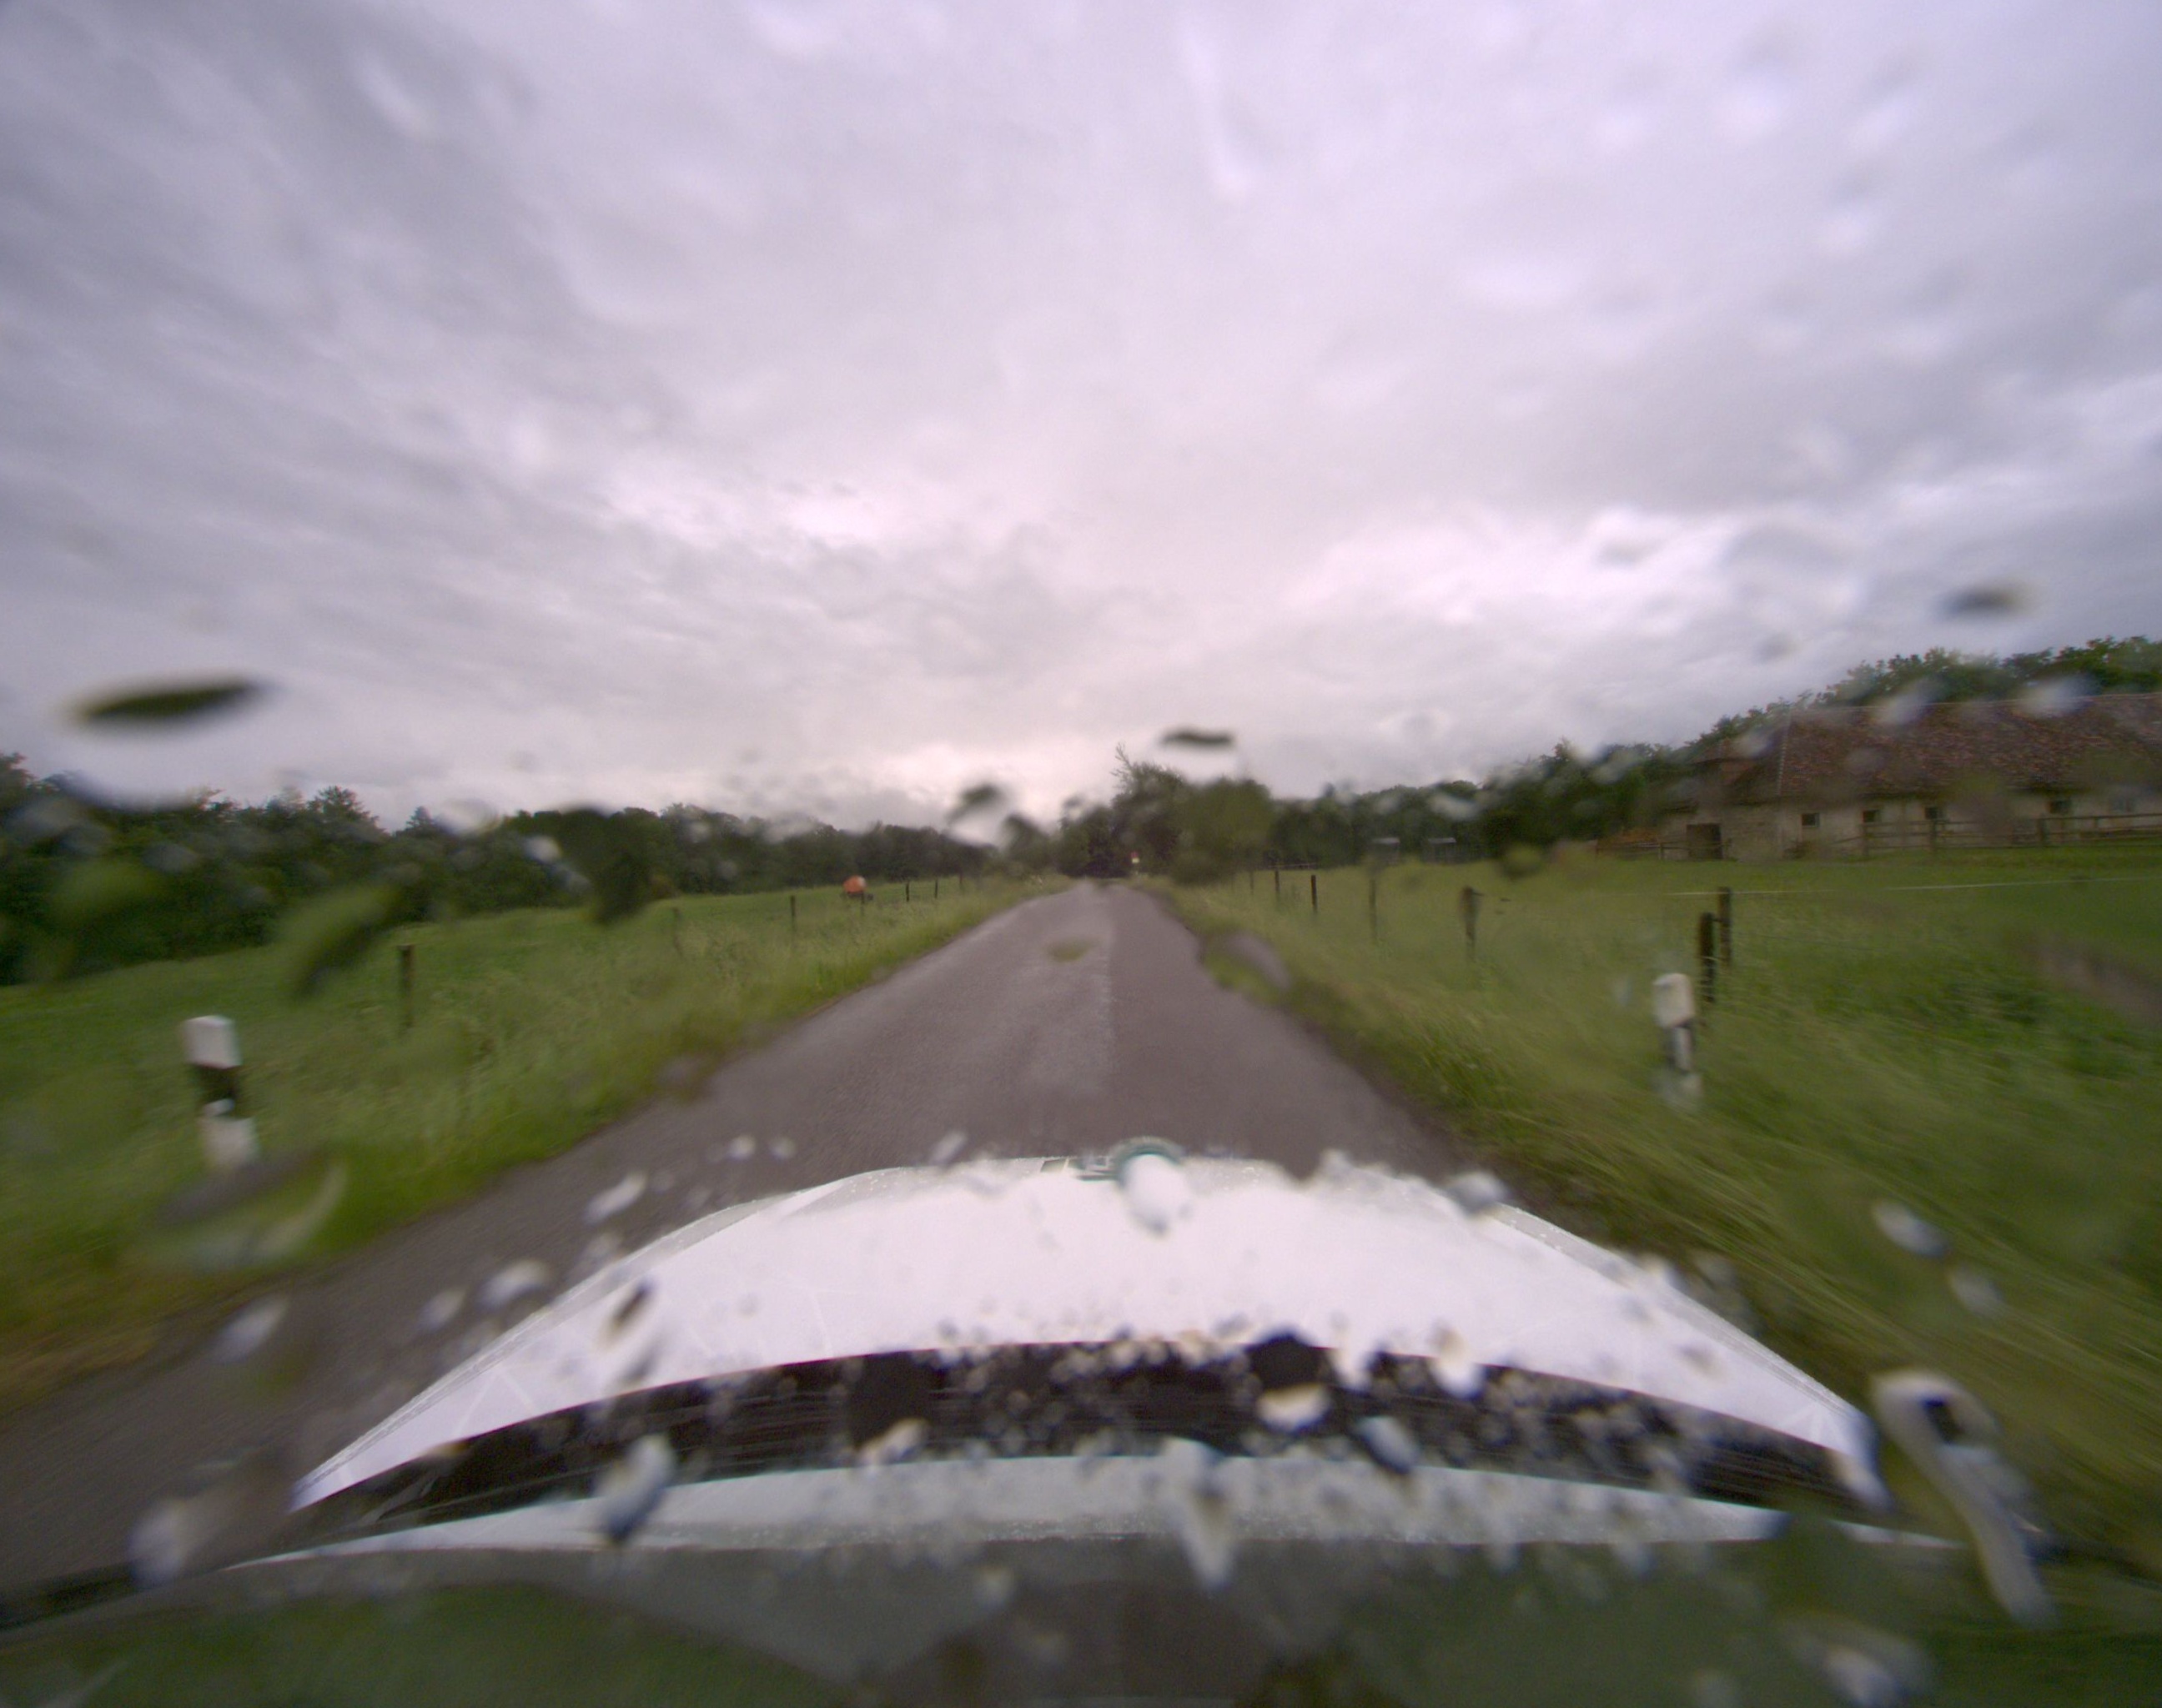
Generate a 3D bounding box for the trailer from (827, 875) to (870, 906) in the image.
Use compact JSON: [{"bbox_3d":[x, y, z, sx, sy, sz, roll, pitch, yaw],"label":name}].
[{"bbox_3d":[-12.452,1.928,43.727,1.751,1.505,3.080,-3,-1,-9],"label":"trailer"}]
